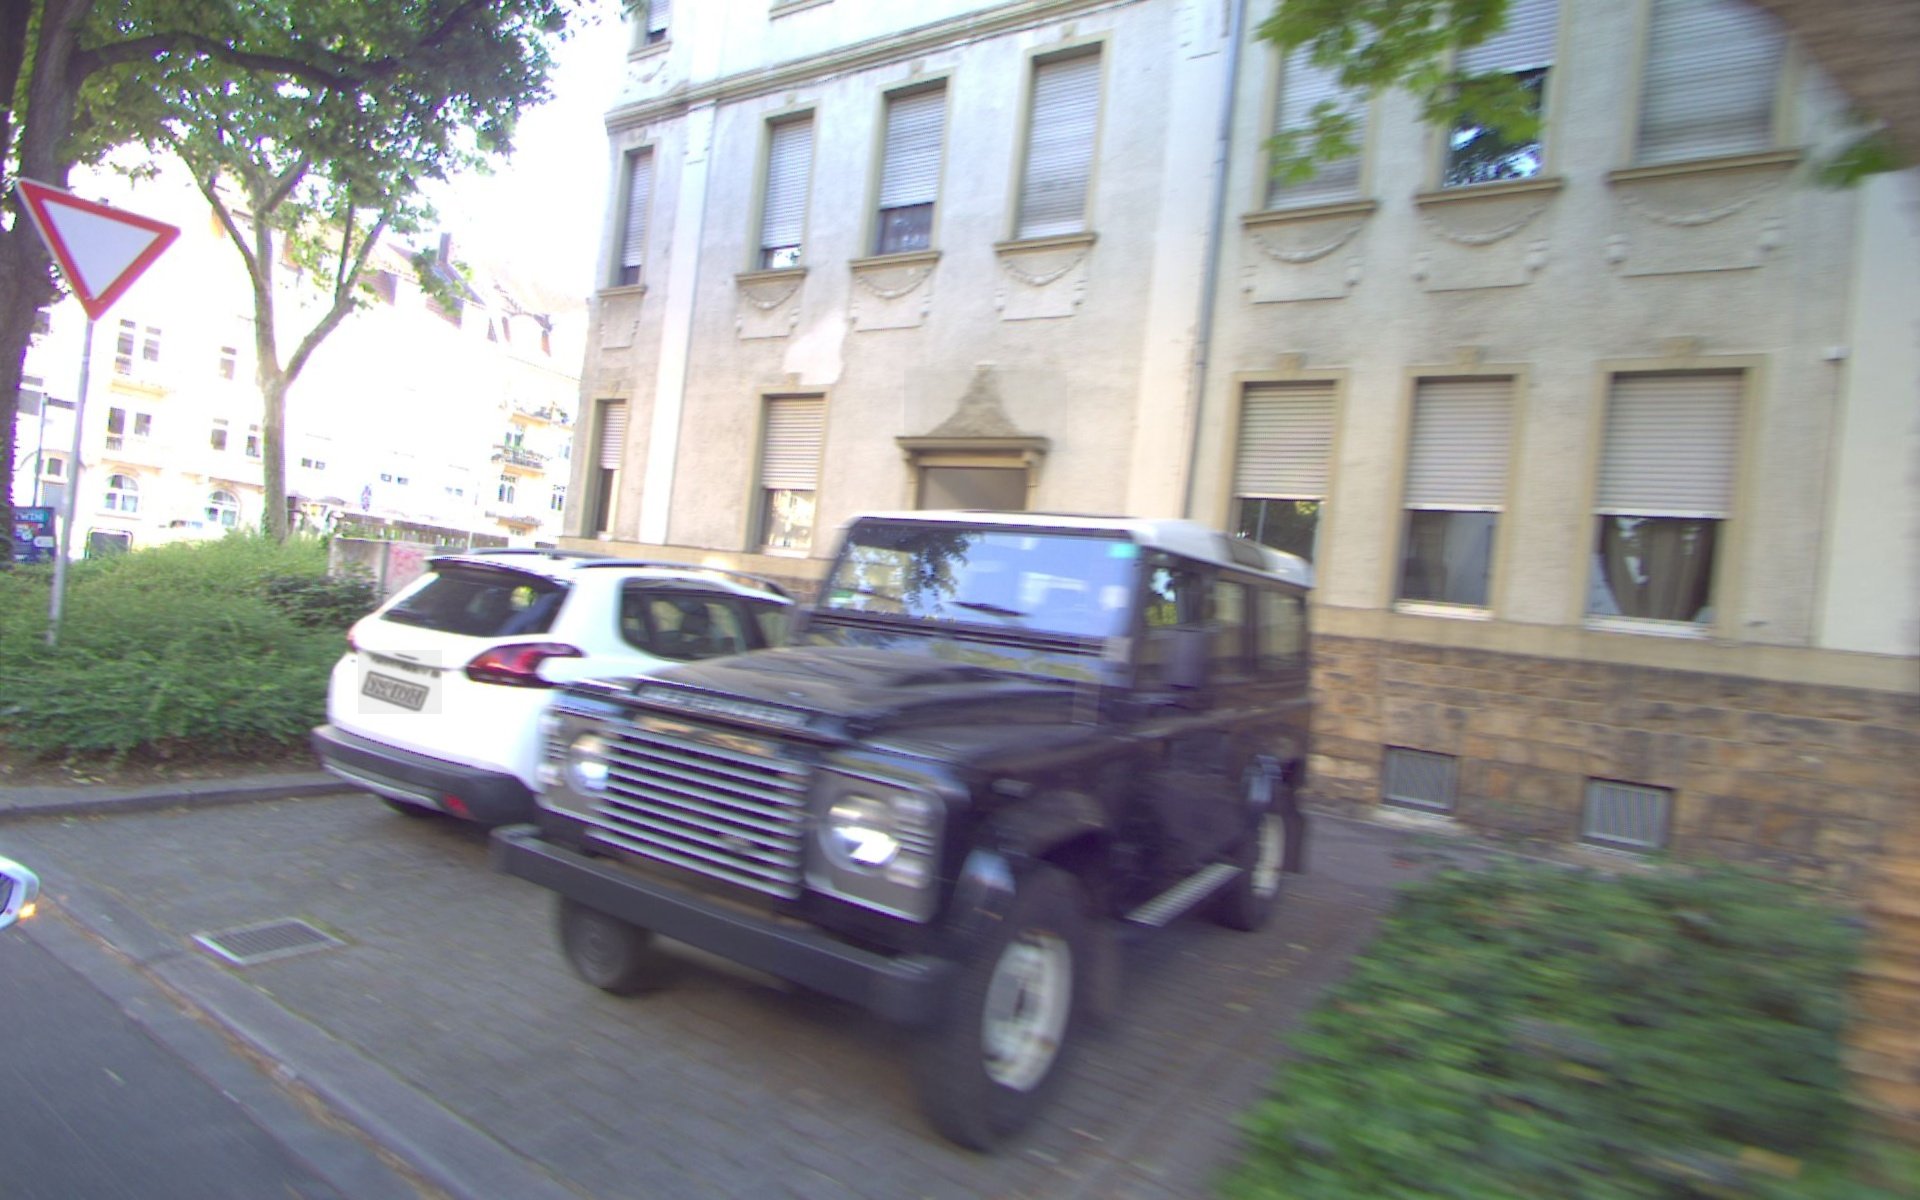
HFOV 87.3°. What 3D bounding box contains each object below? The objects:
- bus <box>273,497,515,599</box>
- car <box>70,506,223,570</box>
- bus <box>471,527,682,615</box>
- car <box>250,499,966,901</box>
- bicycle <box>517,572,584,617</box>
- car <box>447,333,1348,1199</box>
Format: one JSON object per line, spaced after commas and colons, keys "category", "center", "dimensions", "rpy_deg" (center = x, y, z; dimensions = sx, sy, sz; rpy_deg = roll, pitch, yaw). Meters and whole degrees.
{"category": "bus", "center": [-27.473, -2.379, 49.598], "dimensions": [3.221, 3.412, 9.891], "rpy_deg": [6, -3, 30]}
{"category": "car", "center": [-30.743, -2.303, 38.144], "dimensions": [1.905, 1.703, 3.995], "rpy_deg": [6, -3, 32]}
{"category": "bus", "center": [-22.044, -1.514, 59.043], "dimensions": [3.211, 3.412, 11.966], "rpy_deg": [6, -3, 30]}
{"category": "car", "center": [-1.750, 0.528, 6.350], "dimensions": [1.656, 1.594, 4.042], "rpy_deg": [7, -1, 30]}
{"category": "bicycle", "center": [-11.632, -0.132, 28.639], "dimensions": [0.364, 1.081, 1.872], "rpy_deg": [7, -1, 29]}
{"category": "car", "center": [0.363, 0.543, 4.550], "dimensions": [1.731, 2.008, 4.426], "rpy_deg": [3, -2, 32]}
